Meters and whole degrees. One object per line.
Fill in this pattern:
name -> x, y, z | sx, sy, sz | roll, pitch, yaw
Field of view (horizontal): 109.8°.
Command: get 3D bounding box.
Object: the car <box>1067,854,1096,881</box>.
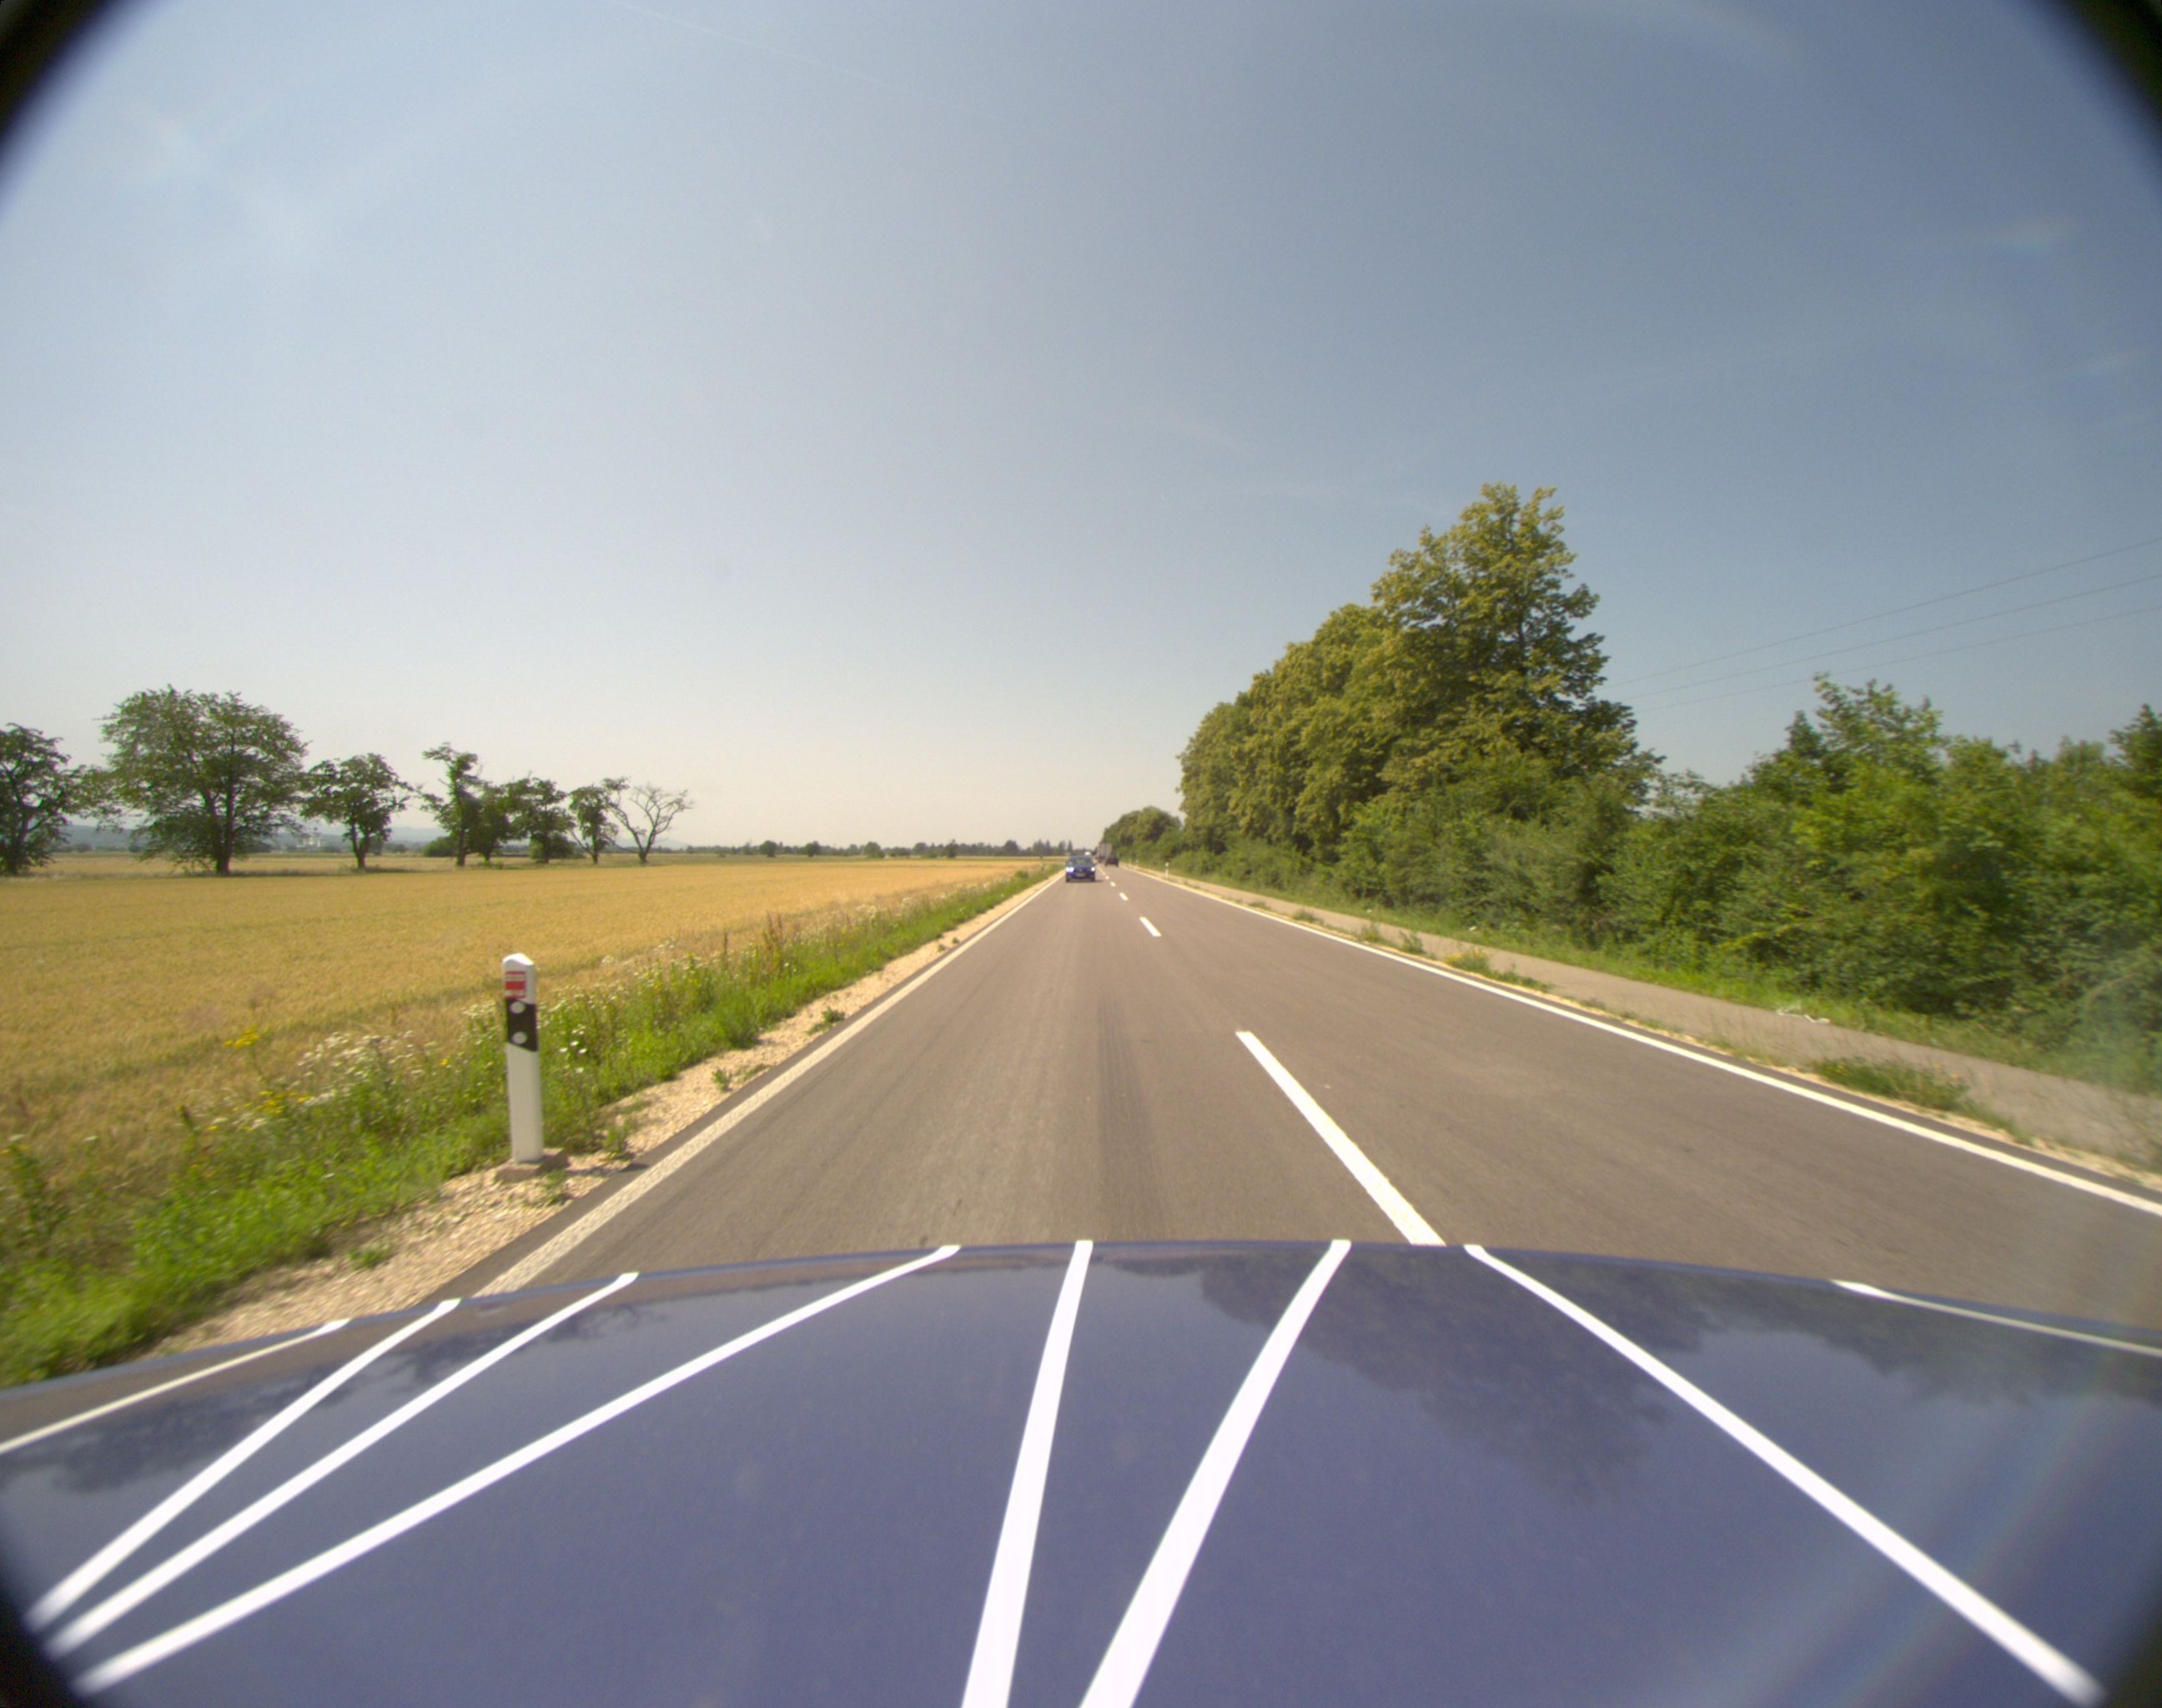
car -> 0.036, 0.764, 45.388 | 1.662, 1.509, 3.999 | -1, 1, 0

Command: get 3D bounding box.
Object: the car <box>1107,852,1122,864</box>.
car -> 4.678, 0.537, 106.604 | 1.796, 1.565, 4.479 | 1, 0, 0

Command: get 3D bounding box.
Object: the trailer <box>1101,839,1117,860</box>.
trailer -> 5.516, -0.888, 151.967 | 2.660, 3.954, 13.353 | 1, 0, 1
